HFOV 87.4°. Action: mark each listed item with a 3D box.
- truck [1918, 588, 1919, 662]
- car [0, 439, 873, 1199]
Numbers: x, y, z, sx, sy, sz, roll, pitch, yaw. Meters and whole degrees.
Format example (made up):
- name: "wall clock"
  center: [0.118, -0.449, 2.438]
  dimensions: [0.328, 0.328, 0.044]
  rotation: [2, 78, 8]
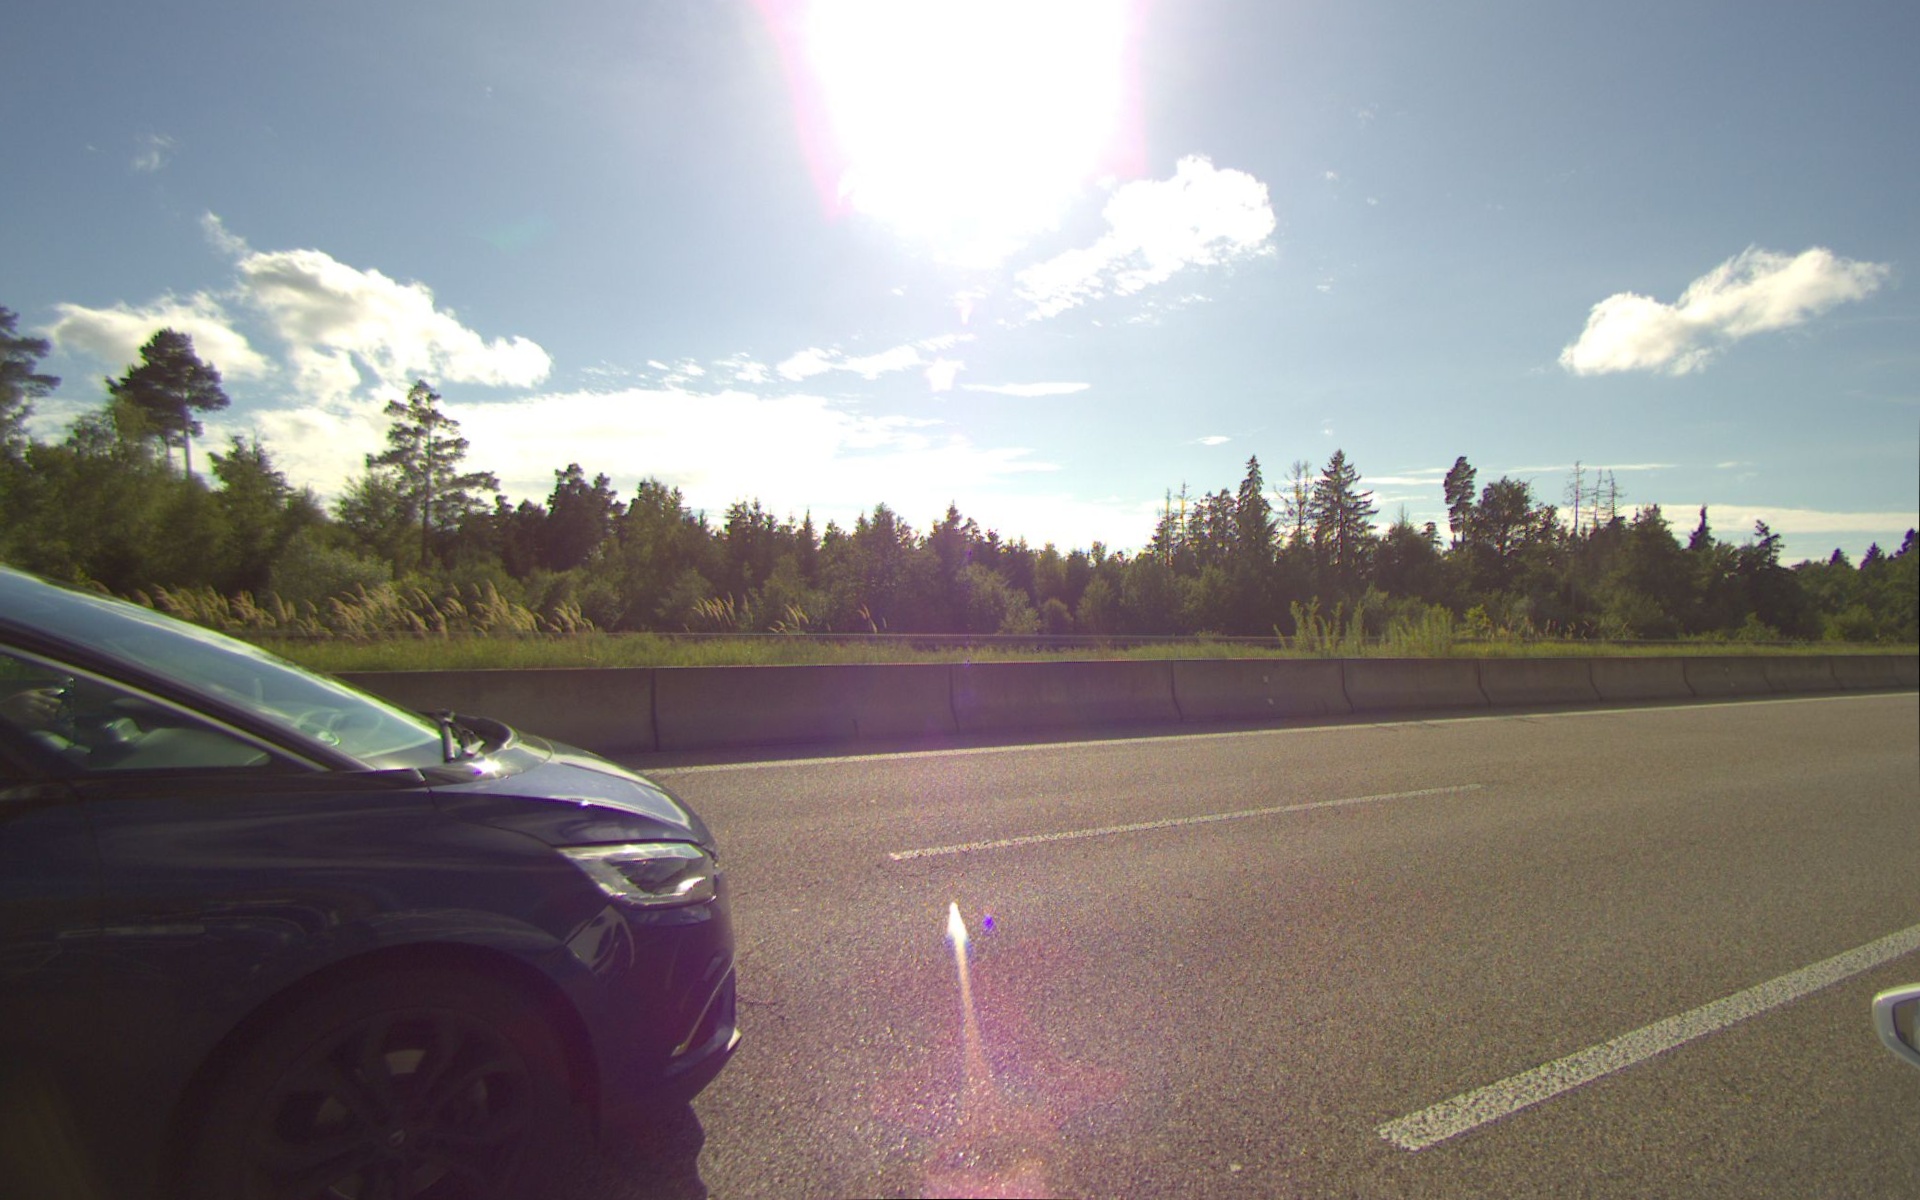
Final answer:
- name: "truck"
  center: [60.766, 1.551, 60.671]
  dimensions: [5.399, 4.450, 2.790]
  rotation: [1, 0, -30]
- name: "car"
  center: [-2.653, 0.574, 2.305]
  dimensions: [4.474, 1.729, 1.985]
  rotation: [1, -1, -29]
